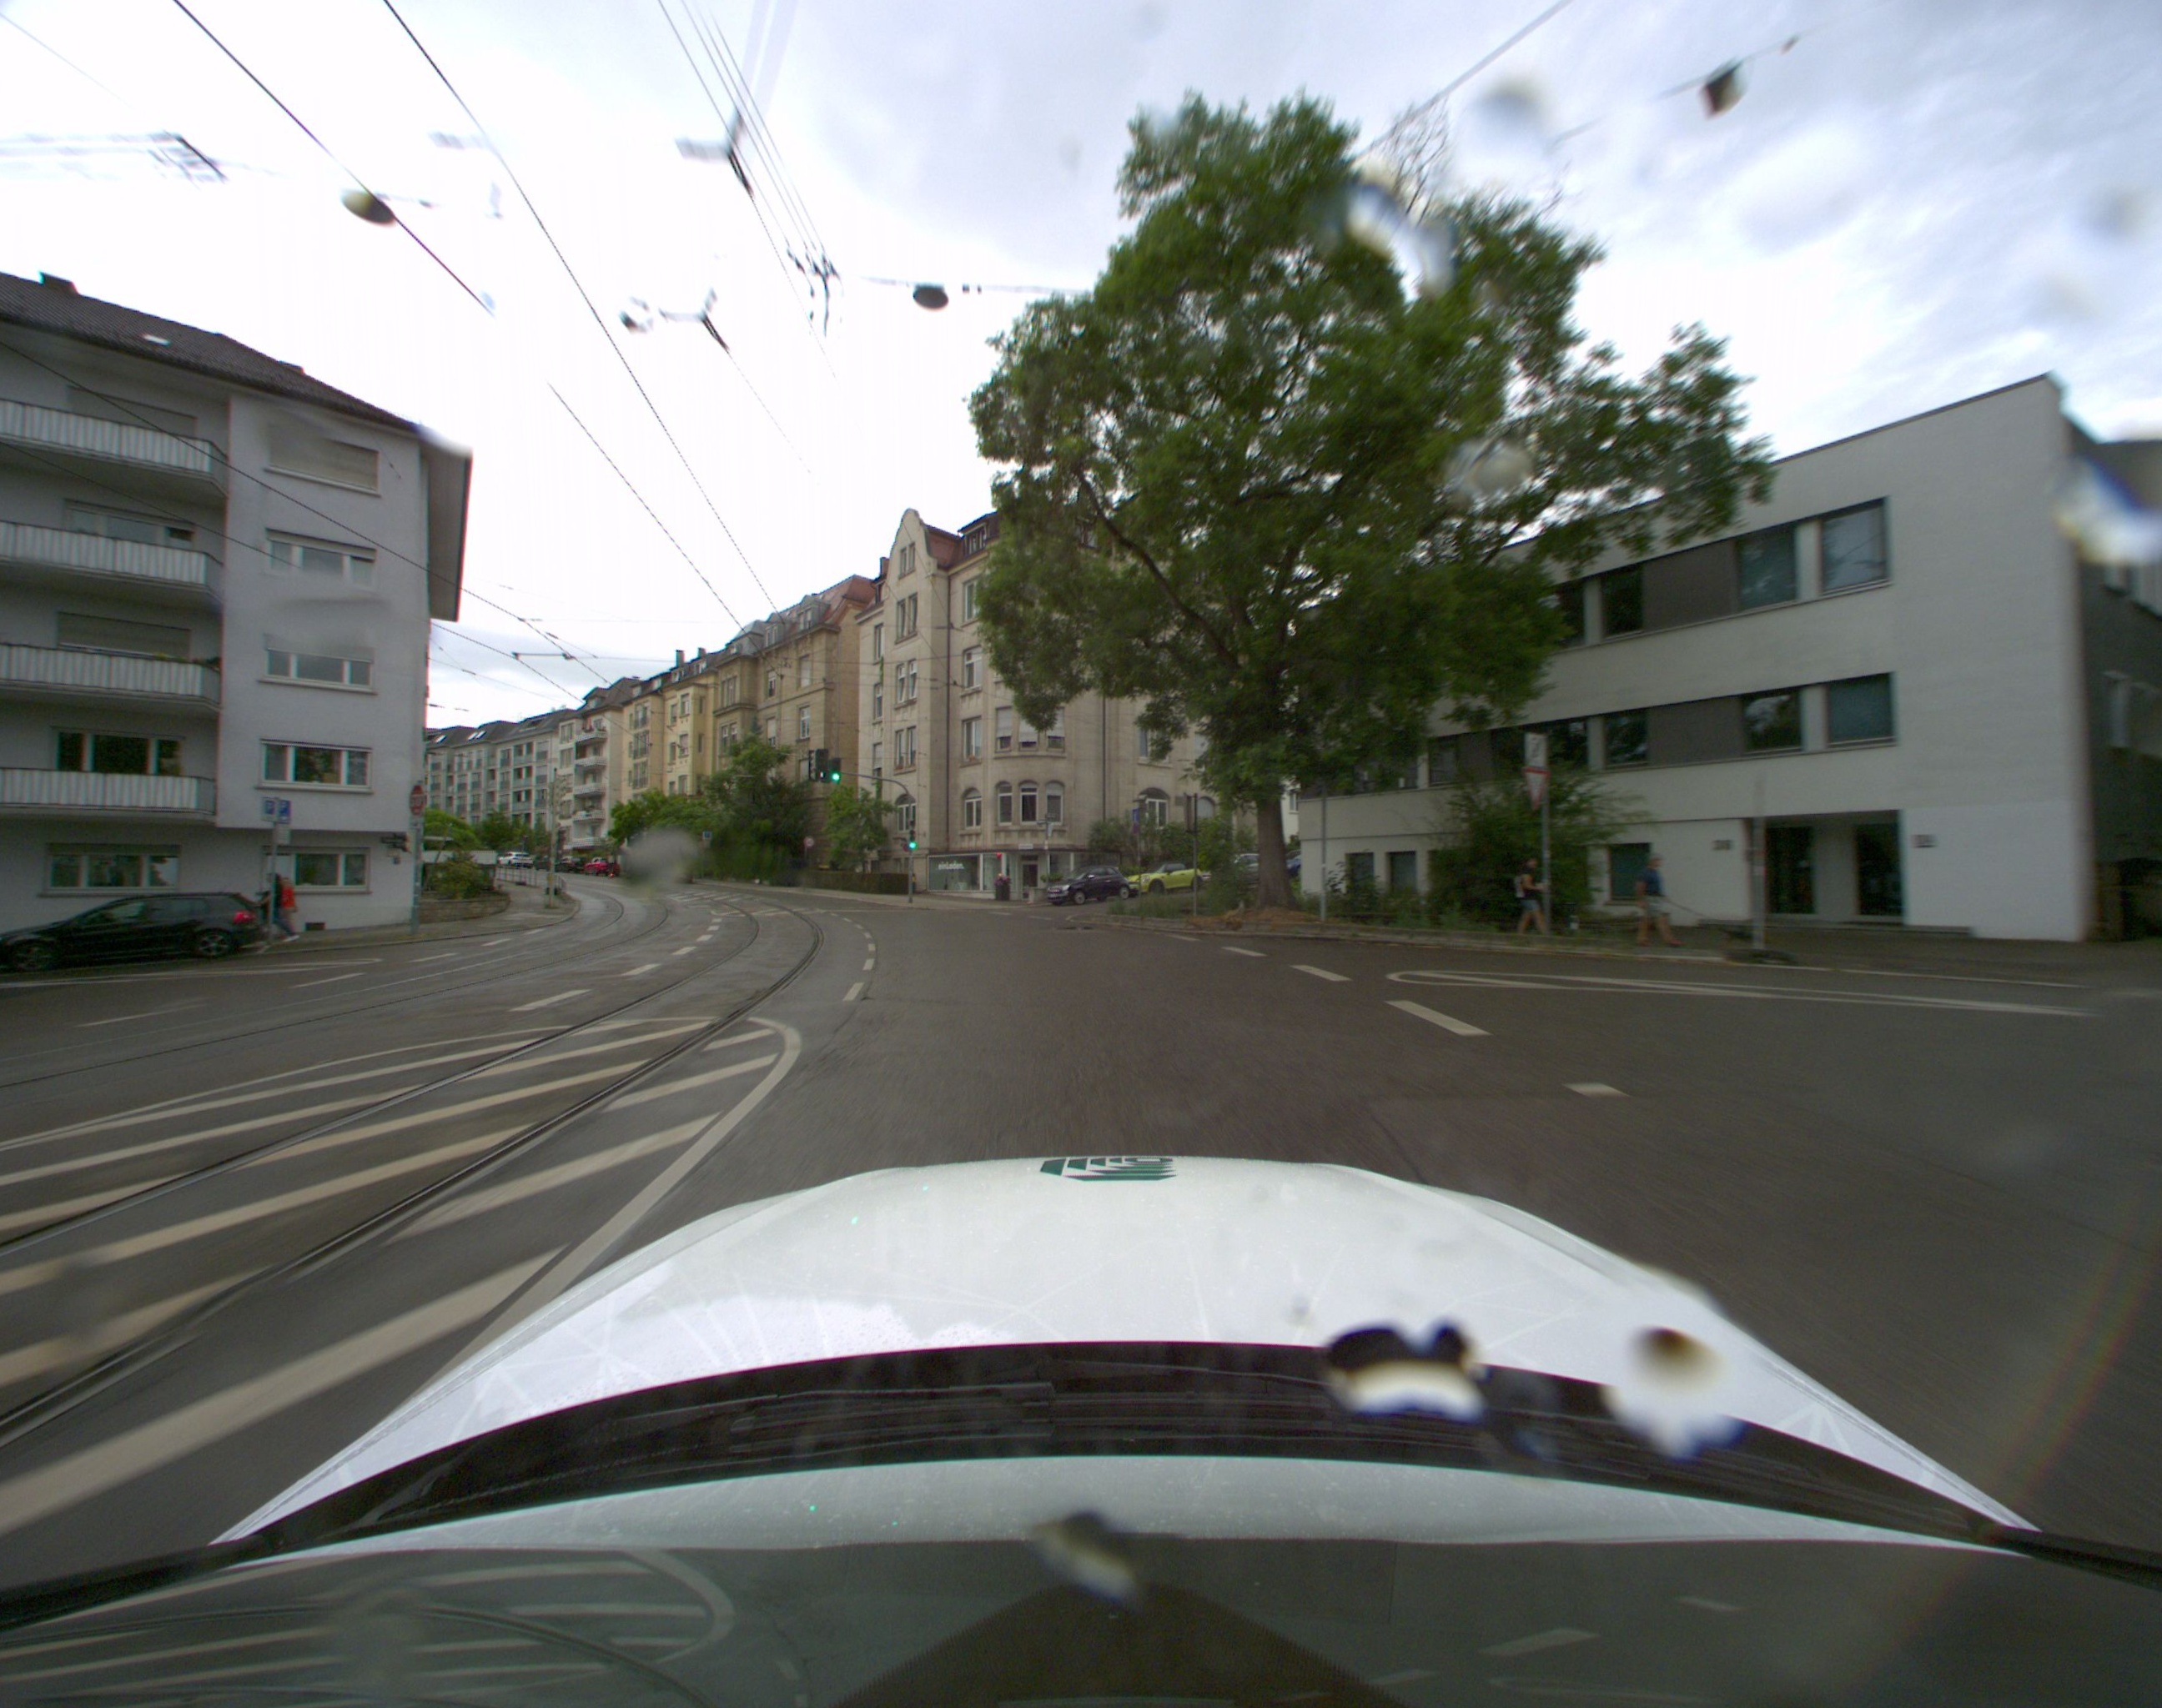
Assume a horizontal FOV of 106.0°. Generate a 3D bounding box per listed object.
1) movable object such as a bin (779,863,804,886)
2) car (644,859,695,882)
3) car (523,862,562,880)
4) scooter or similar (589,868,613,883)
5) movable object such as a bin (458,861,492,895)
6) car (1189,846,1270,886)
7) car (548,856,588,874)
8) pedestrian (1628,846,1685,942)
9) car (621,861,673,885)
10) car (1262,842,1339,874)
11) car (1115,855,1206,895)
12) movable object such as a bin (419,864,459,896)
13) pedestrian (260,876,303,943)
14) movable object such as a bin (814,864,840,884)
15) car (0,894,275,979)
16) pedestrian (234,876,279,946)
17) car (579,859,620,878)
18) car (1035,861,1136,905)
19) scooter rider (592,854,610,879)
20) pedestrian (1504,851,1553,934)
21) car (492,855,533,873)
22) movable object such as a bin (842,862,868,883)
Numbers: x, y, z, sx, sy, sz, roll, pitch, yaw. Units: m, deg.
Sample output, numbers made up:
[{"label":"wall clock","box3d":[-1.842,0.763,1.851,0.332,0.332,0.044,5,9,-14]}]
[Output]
[{"label":"movable object such as a bin","box3d":[-18.667,1.307,52.474,0.812,1.403,1.237,2,2,37]},{"label":"car","box3d":[-28.080,1.104,55.523,3.951,1.391,1.782,2,-1,44]},{"label":"car","box3d":[-48.650,1.530,73.546,4.248,1.437,1.571,1,-2,37]},{"label":"scooter or similar","box3d":[-34.229,1.531,58.066,1.983,1.050,0.518,1,-3,32]},{"label":"movable object such as a bin","box3d":[-28.013,1.096,37.662,1.195,1.461,1.275,-1,2,-39]},{"label":"car","box3d":[6.961,0.544,38.105,3.794,1.508,1.604,-4,-1,-41]},{"label":"car","box3d":[-44.011,0.920,69.842,4.012,1.437,1.699,1,-2,39]},{"label":"pedestrian","box3d":[10.032,0.675,14.208,0.547,1.629,0.596,0,1,-28]},{"label":"car","box3d":[-31.440,1.349,58.954,4.233,1.603,1.782,0,-1,40]},{"label":"car","box3d":[11.193,0.220,41.430,3.913,1.508,1.606,0,-3,-35]},{"label":"car","box3d":[3.472,0.868,35.352,3.687,1.508,1.718,-3,1,-37]},{"label":"movable object such as a bin","box3d":[-29.017,1.172,36.799,1.380,1.336,1.310,-1,2,-39]},{"label":"pedestrian","box3d":[-21.369,1.463,21.787,0.749,1.699,0.665,0,2,-39]},{"label":"movable object such as a bin","box3d":[-17.036,1.345,54.648,1.153,1.308,1.228,0,0,45]},{"label":"car","box3d":[-21.572,1.802,18.611,4.274,1.454,1.835,-1,2,-39]},{"label":"pedestrian","box3d":[-21.157,1.443,20.915,0.749,1.699,0.665,0,2,-40]},{"label":"car","box3d":[-38.276,1.140,64.681,3.792,1.437,1.738,1,-2,42]},{"label":"car","box3d":[0.206,1.109,32.723,3.687,1.508,1.718,-3,1,-36]},{"label":"scooter rider","box3d":[-34.216,0.916,58.050,0.833,1.706,0.629,1,-4,32]},{"label":"pedestrian","box3d":[8.583,0.729,15.651,0.598,1.565,0.545,1,1,-5]},{"label":"car","box3d":[-55.034,0.950,78.854,4.193,1.573,1.854,1,-3,35]},{"label":"movable object such as a bin","box3d":[-15.555,1.269,56.157,1.291,1.425,1.242,0,0,45]}]
